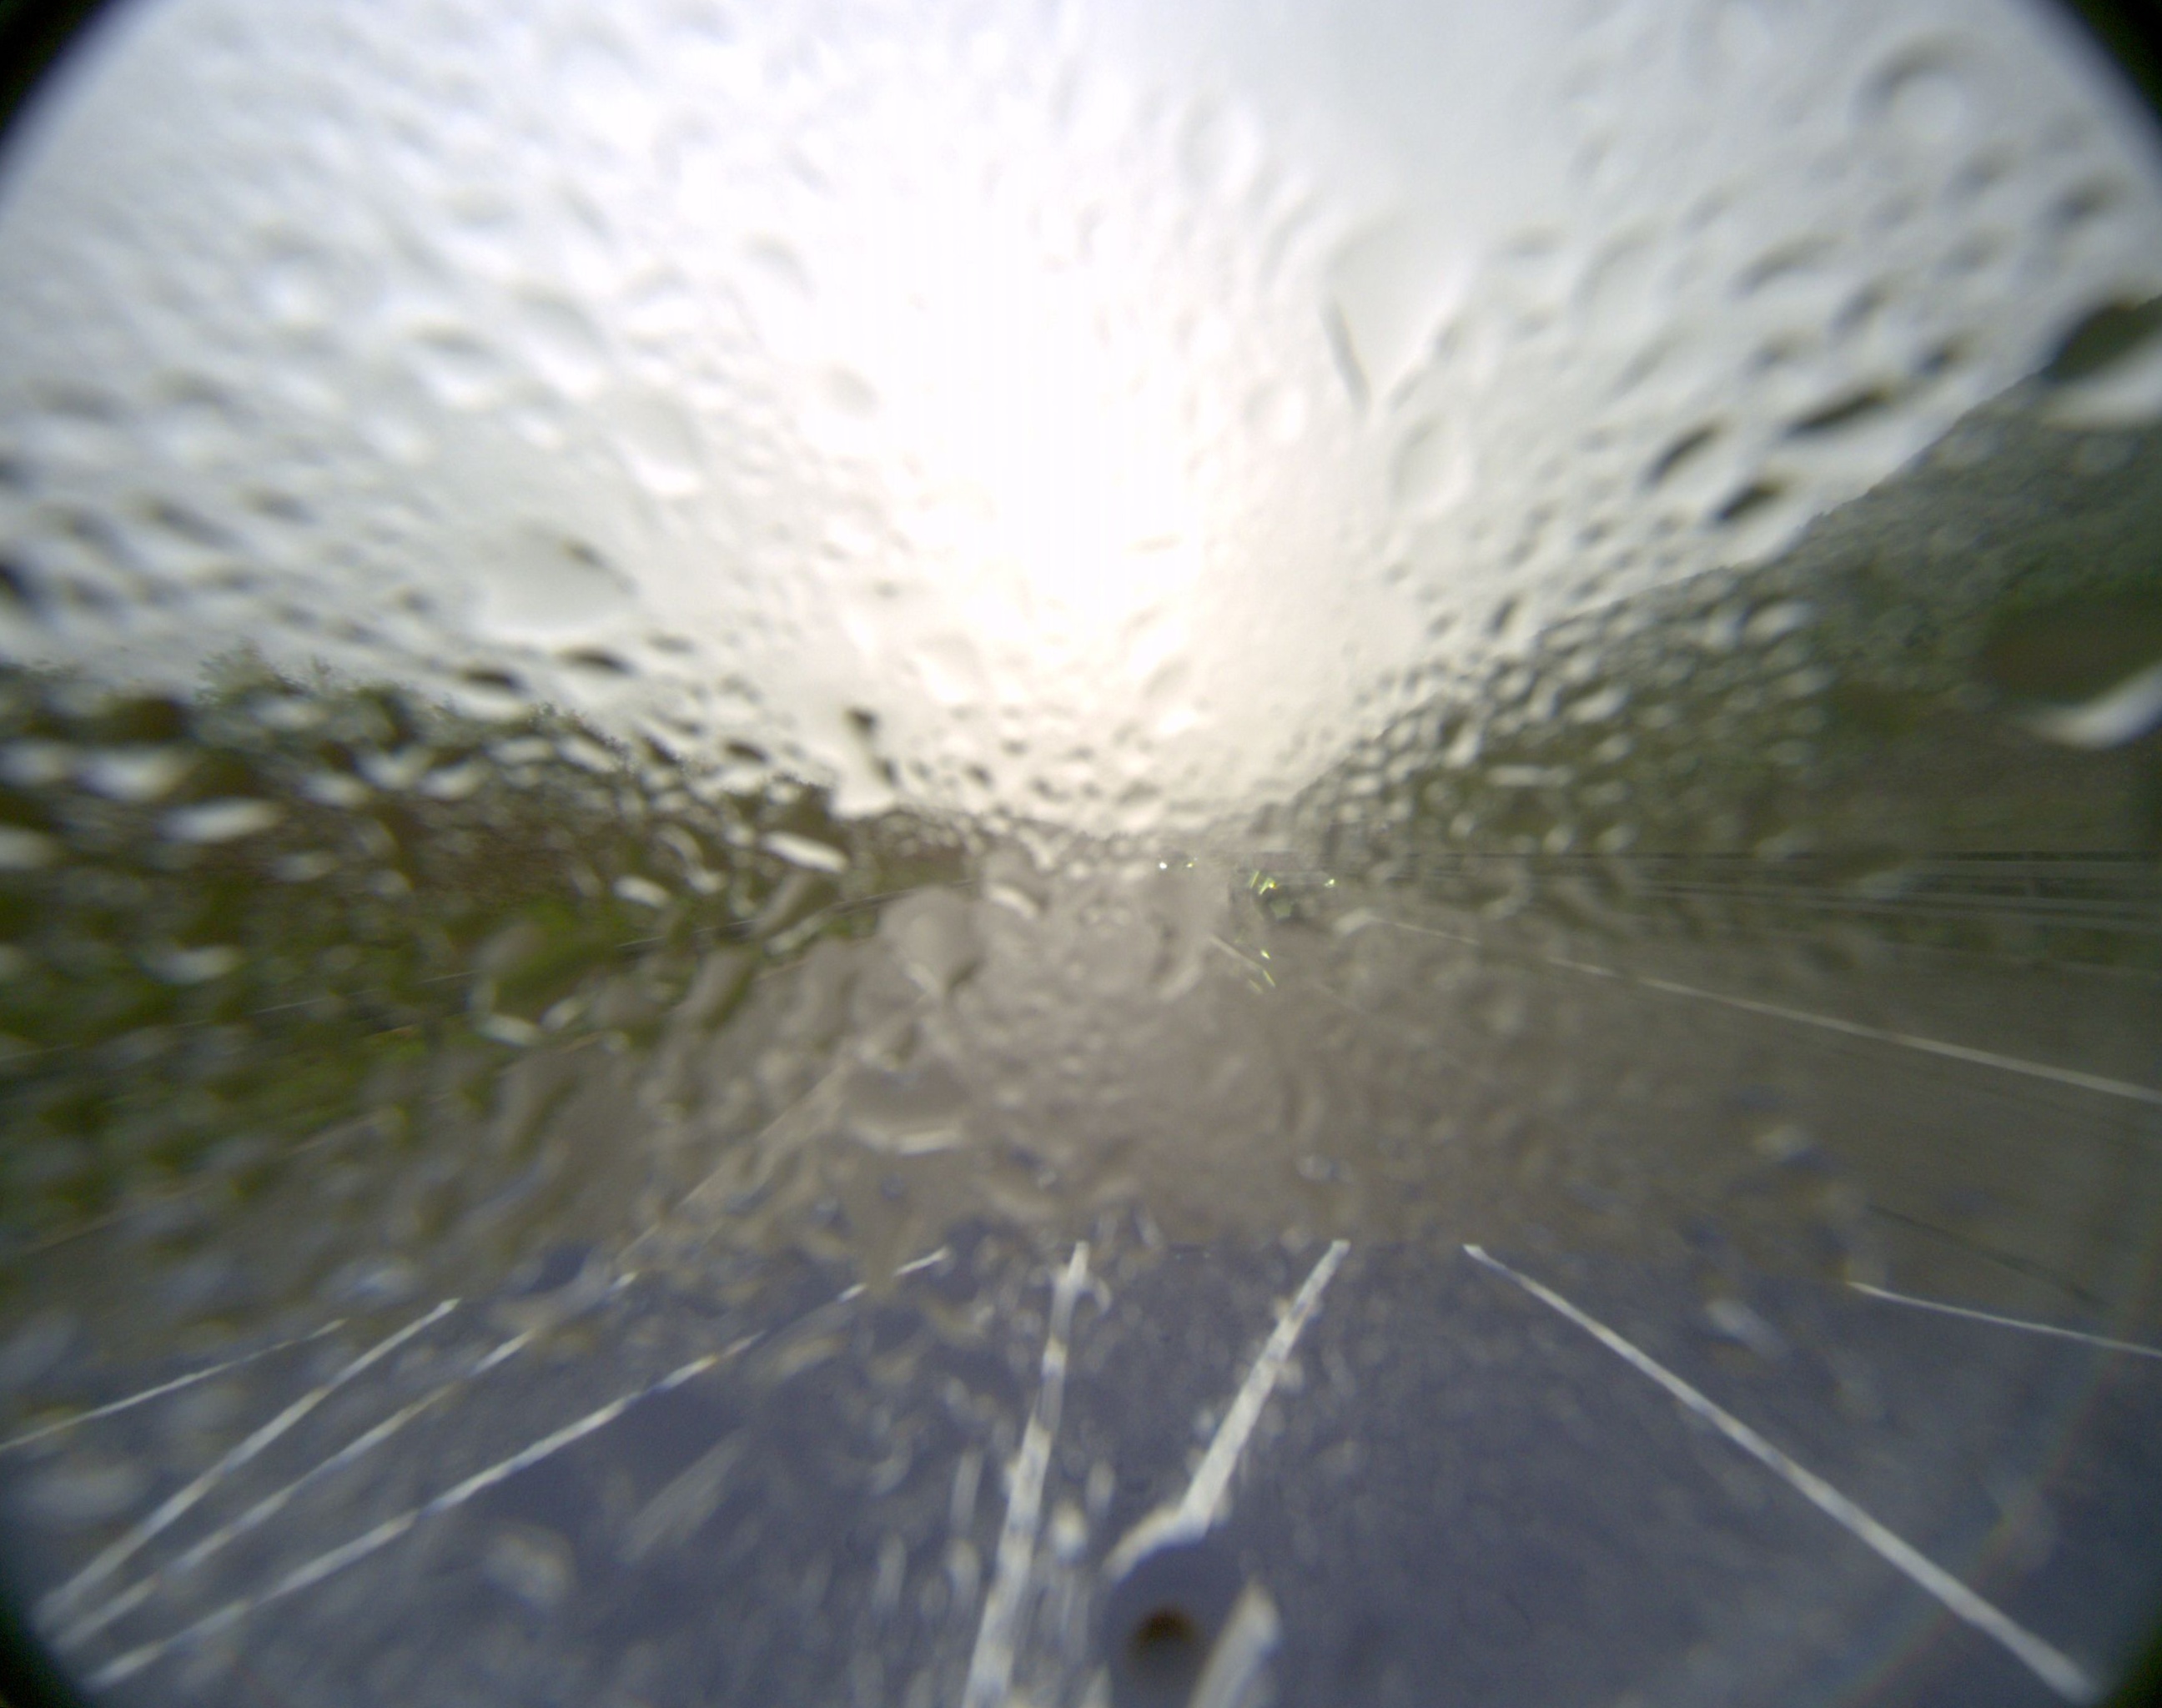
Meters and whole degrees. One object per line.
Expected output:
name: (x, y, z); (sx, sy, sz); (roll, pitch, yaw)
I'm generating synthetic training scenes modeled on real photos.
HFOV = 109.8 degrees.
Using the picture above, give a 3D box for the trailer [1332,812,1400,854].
trailer: (27.720, -1.949, 74.786); (2.819, 3.660, 13.250); (-2, 0, 5)

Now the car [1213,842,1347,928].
car: (4.553, 0.610, 18.209); (1.998, 1.673, 4.909); (-4, 1, 2)

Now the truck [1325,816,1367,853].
truck: (28.373, -2.054, 81.600); (2.786, 3.662, 6.209); (-2, 1, 6)

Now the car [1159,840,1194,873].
car: (5.459, 0.112, 43.302); (1.813, 1.692, 3.750); (-3, 1, 7)

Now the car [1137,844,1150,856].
car: (10.913, -0.645, 132.310); (1.998, 2.001, 4.001); (-2, -1, 3)

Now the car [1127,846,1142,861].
car: (7.563, -0.091, 107.620); (1.835, 2.002, 3.939); (-4, 1, 6)

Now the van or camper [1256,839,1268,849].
van or camper: (48.736, -2.726, 204.828); (2.349, 2.549, 7.209); (-2, 0, 8)
